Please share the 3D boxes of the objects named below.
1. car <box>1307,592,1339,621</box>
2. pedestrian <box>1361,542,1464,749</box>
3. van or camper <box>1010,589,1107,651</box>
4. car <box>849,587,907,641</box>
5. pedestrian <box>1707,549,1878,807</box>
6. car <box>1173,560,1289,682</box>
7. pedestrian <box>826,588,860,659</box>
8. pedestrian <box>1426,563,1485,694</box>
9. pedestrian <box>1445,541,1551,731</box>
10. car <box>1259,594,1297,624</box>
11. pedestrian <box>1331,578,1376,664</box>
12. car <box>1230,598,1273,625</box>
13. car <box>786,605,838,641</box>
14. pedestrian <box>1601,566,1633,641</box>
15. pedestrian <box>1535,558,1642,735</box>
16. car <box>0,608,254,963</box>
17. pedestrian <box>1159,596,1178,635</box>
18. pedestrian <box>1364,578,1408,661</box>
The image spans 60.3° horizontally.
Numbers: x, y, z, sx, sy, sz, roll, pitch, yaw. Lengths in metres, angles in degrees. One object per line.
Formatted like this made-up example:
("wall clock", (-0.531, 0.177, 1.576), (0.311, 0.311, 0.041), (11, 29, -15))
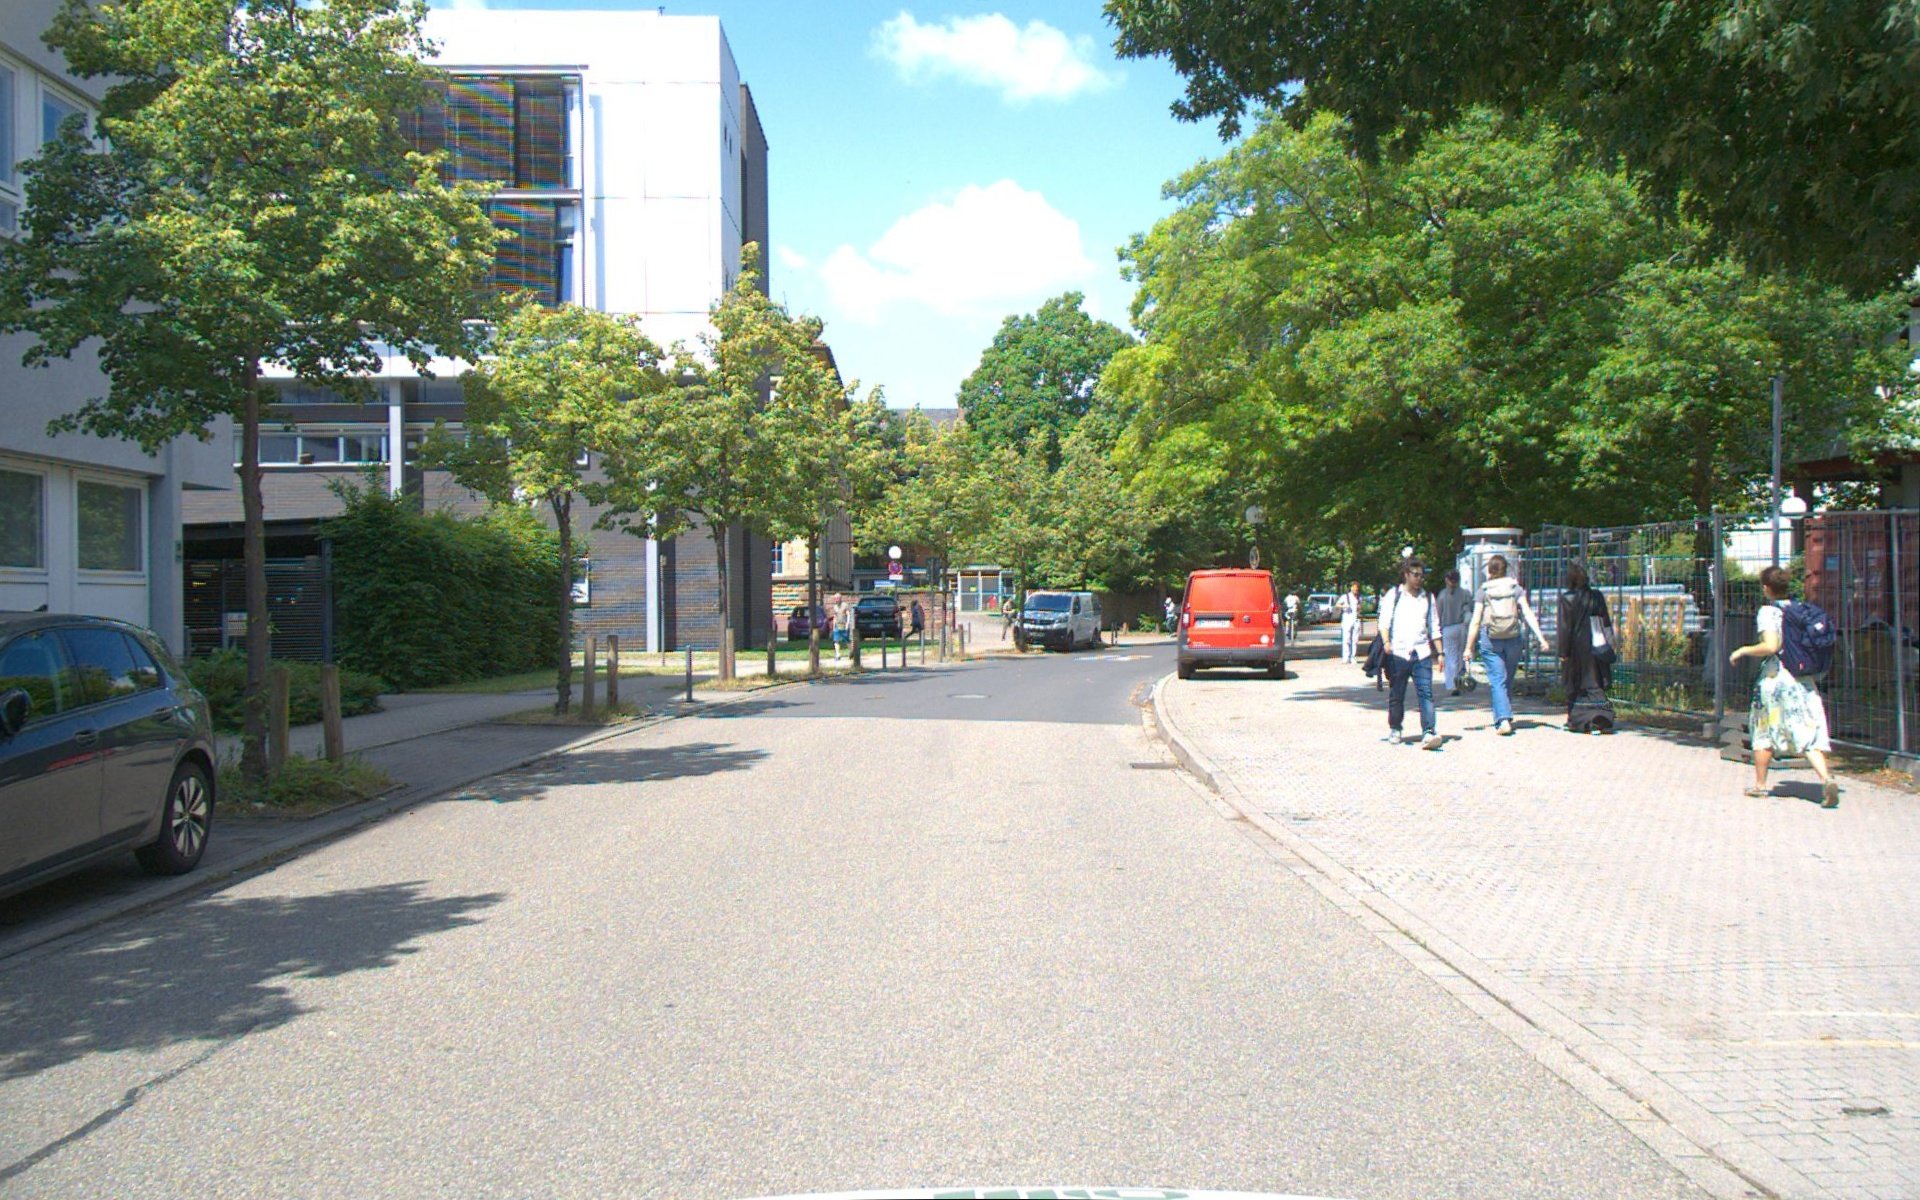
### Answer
("car", (24.203, 0.433, 110.170), (1.582, 1.847, 4.001), (-1, 0, 19))
("pedestrian", (4.093, 0.398, 15.005), (0.680, 1.812, 0.787), (-1, 0, 0))
("van or camper", (3.382, 0.631, 55.672), (1.913, 1.957, 5.422), (0, 0, 19))
("car", (-3.157, 0.533, 63.777), (2.131, 1.959, 5.183), (-1, 0, -3))
("pedestrian", (5.714, 0.515, 11.394), (0.636, 1.695, 0.903), (-1, 0, -5))
("car", (4.723, 0.341, 29.044), (1.809, 1.924, 4.894), (-1, 0, 9))
("pedestrian", (-3.015, 0.596, 42.652), (0.571, 1.795, 0.912), (-1, 0, 16))
("pedestrian", (6.414, 0.366, 21.438), (0.697, 1.660, 0.712), (-1, -1, 16))
("pedestrian", (5.224, 0.343, 16.092), (0.832, 1.795, 0.716), (-1, 0, 8))
("car", (18.454, 0.494, 95.968), (1.582, 1.708, 4.001), (-1, 0, 19))
("pedestrian", (8.620, 0.458, 36.213), (0.716, 1.853, 0.622), (0, -1, -37))
("car", (15.506, 0.594, 87.793), (1.582, 1.412, 4.001), (-1, 0, 19))
("car", (-5.681, 0.866, 63.680), (1.781, 1.347, 3.766), (-1, 0, -2))
("pedestrian", (16.579, 0.083, 41.750), (0.531, 1.869, 0.762), (-1, -1, 5))
("pedestrian", (6.017, 0.432, 15.869), (0.654, 1.628, 0.985), (-1, 0, 3))
("car", (-4.982, 0.795, 7.682), (1.742, 1.486, 4.256), (0, 0, -3))
("pedestrian", (9.179, 0.668, 72.834), (0.616, 1.692, 0.601), (-1, -1, -16))
("pedestrian", (9.108, 0.410, 35.361), (0.737, 1.740, 0.556), (0, -1, -37))
